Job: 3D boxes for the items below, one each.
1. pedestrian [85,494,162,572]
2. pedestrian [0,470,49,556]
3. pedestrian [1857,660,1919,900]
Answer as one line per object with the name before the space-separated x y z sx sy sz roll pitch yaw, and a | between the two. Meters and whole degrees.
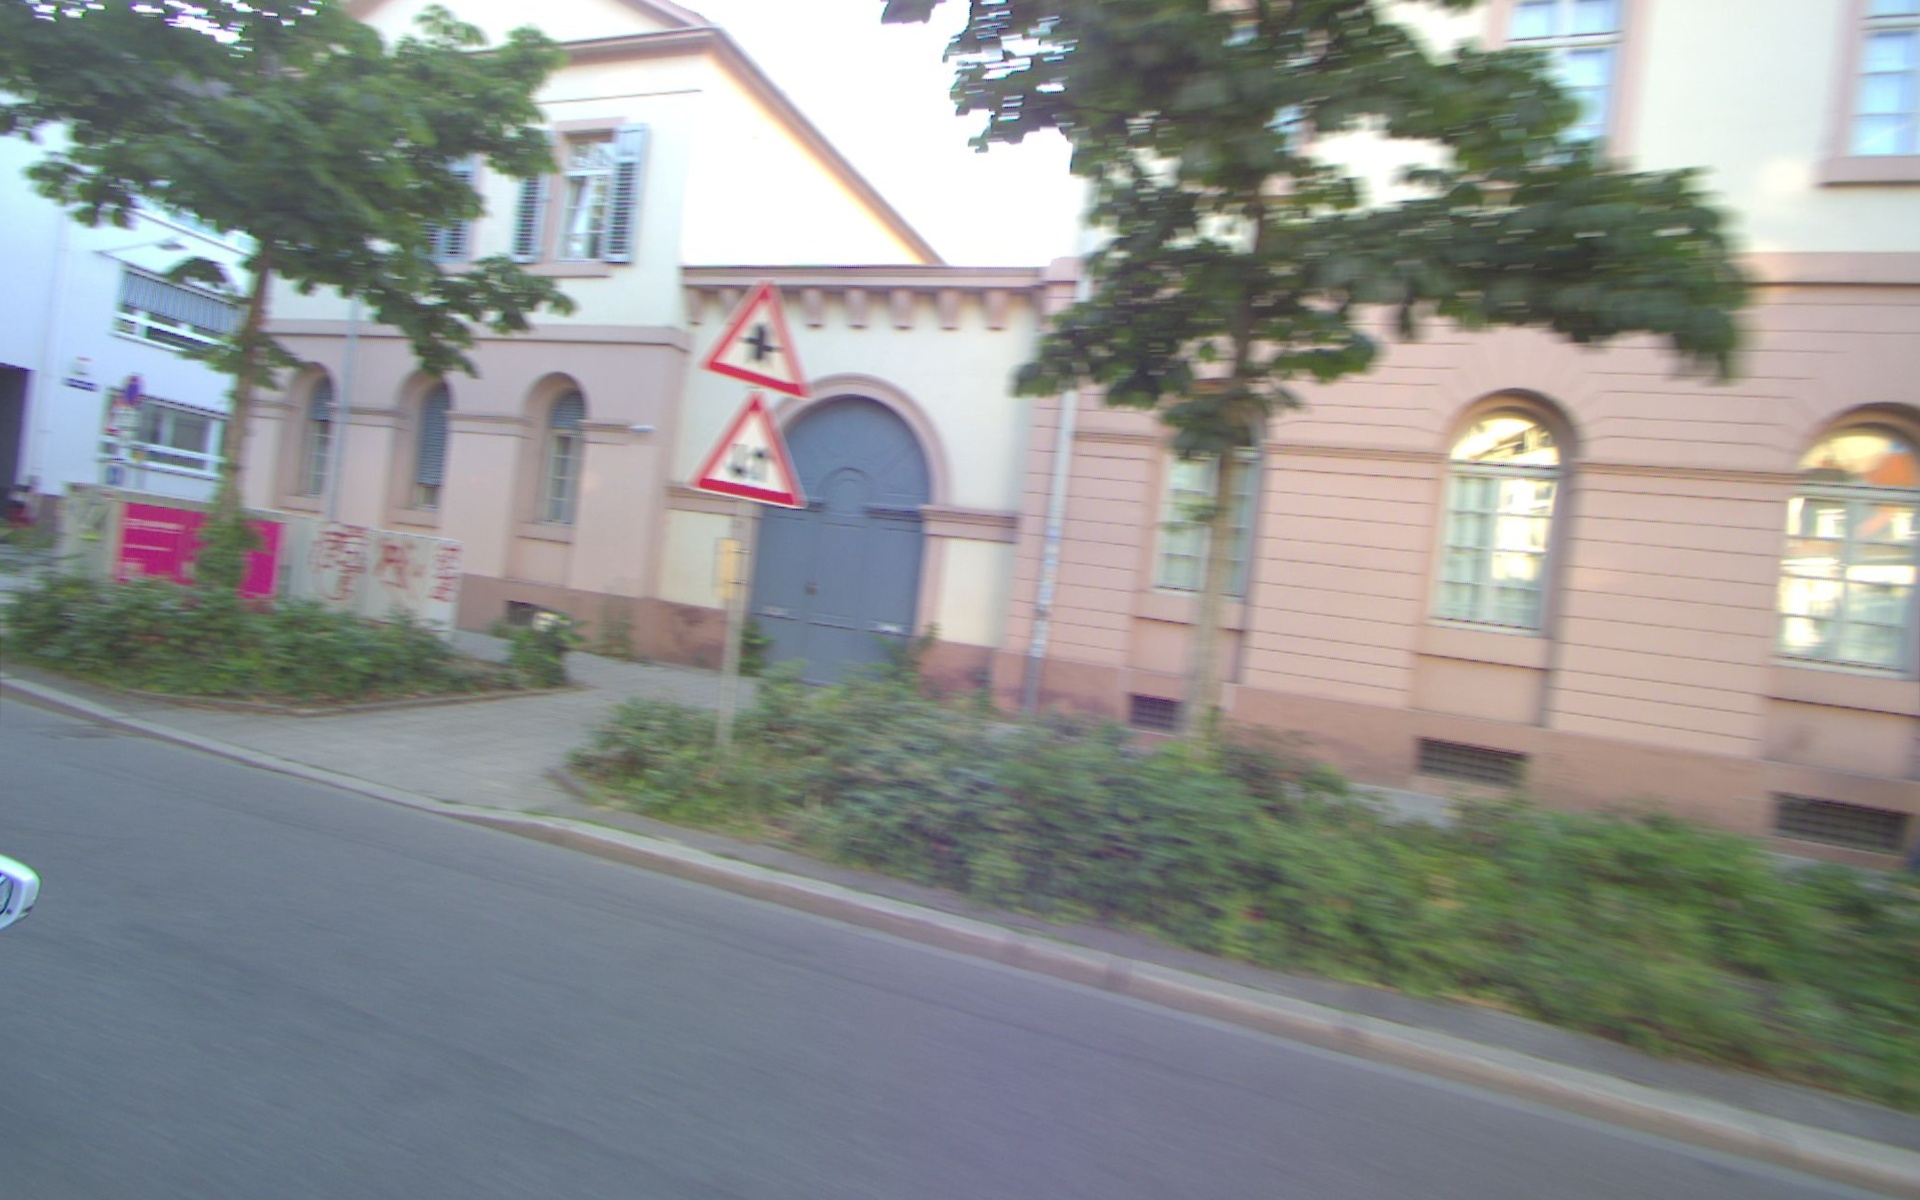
pedestrian | -18.892 -1.495 22.723 0.688 1.576 0.980 8 0 22
pedestrian | -21.141 -1.961 22.400 0.916 1.773 0.771 8 0 22
pedestrian | 8.137 1.487 8.044 1.064 1.863 0.799 8 3 28
